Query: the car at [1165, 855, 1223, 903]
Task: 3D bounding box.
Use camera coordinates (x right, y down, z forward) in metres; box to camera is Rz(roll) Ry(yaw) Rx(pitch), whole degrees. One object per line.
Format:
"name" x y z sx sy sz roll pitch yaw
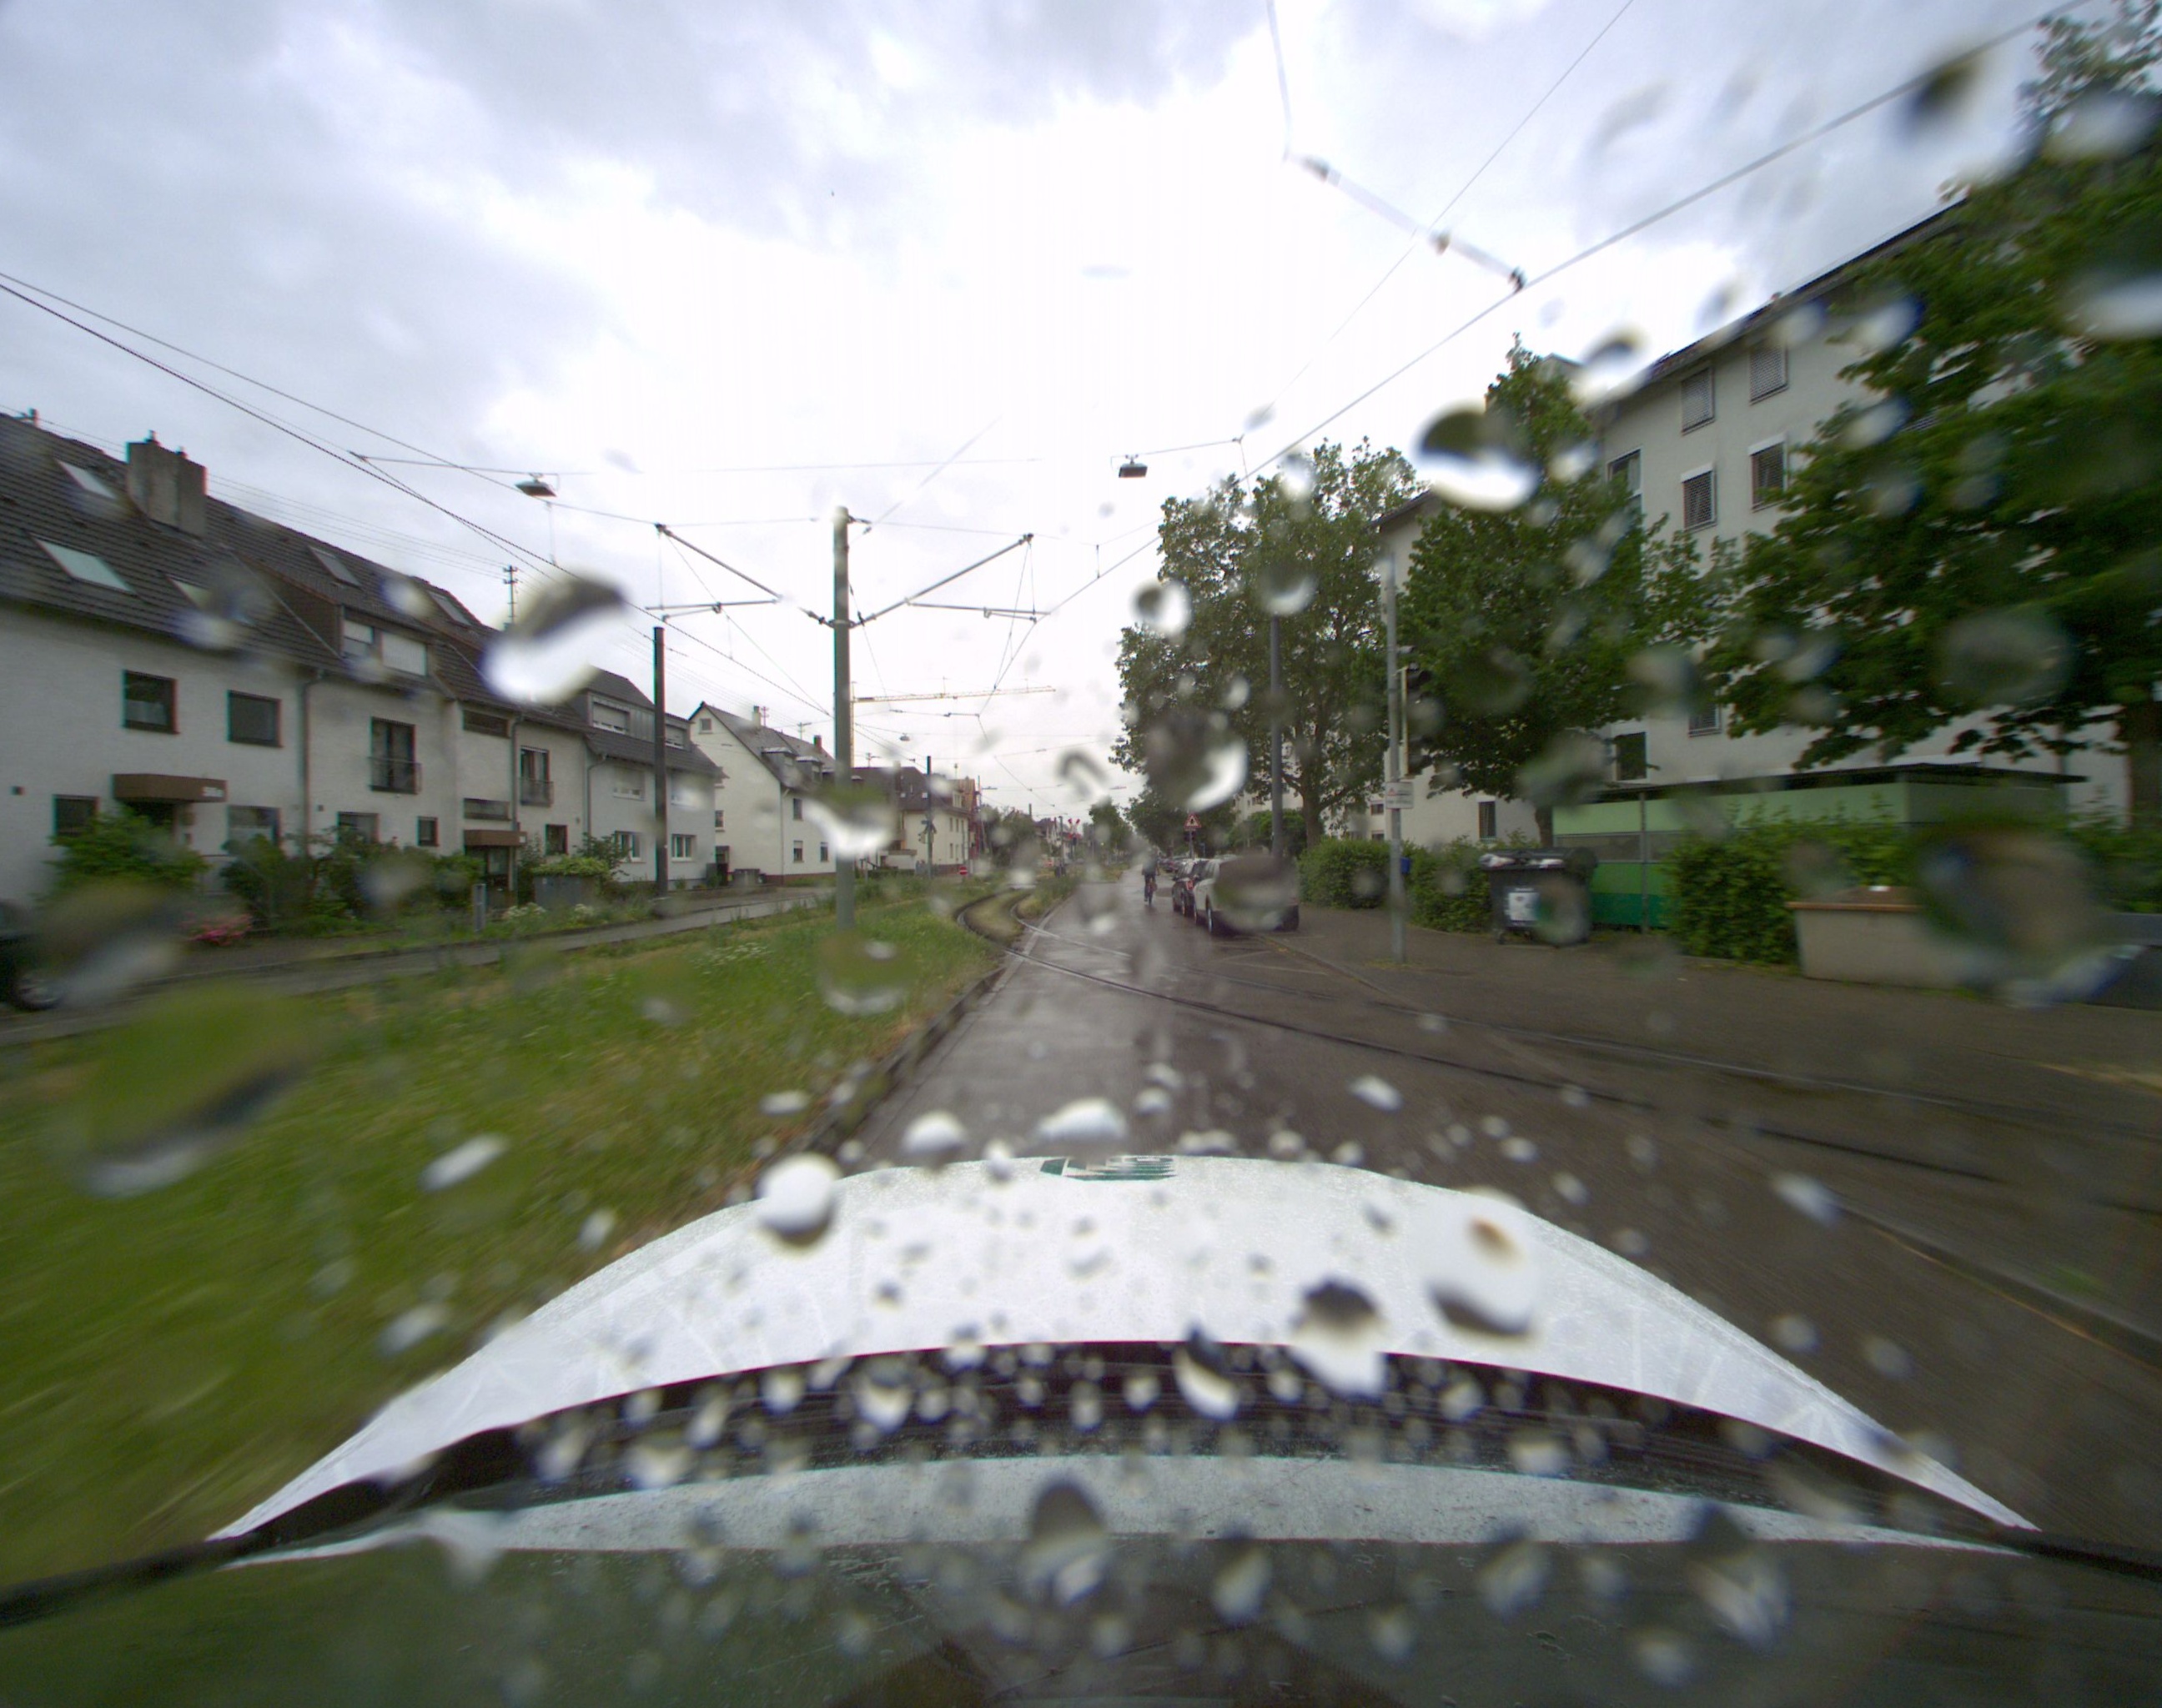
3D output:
"car" 3.961 0.836 29.031 1.552 1.519 4.001 -2 0 2

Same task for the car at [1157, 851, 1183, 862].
"car" 15.671 0.406 143.520 4.158 1.719 1.982 -4 1 -27

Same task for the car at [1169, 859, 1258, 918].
"car" 3.637 0.912 23.041 1.893 1.449 4.185 -2 0 1

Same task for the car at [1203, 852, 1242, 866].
"car" 19.125 0.646 110.474 4.804 1.745 1.993 -1 0 -11

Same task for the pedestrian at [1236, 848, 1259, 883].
"pedestrian" 9.025 0.610 44.052 1.091 1.813 1.439 -1 0 14

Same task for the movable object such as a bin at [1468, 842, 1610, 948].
"movable object such as a bin" 6.783 0.570 12.108 1.158 1.441 1.460 -1 -1 -37

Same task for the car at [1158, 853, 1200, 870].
"car" 10.245 0.790 85.009 4.370 1.651 1.837 -2 0 -37

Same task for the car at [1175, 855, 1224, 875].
"car" 10.207 0.911 69.932 4.017 1.508 1.687 -2 -2 -35

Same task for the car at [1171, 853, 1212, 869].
"car" 11.077 0.672 81.687 4.019 1.429 1.715 -2 0 -37

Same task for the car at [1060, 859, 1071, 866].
"car" -3.104 1.718 165.100 1.655 1.244 4.078 1 0 6

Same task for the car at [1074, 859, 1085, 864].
"car" -0.352 1.734 190.907 1.885 1.244 4.699 1 0 9

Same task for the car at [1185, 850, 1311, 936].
"car" 3.435 0.746 17.539 1.893 1.575 4.112 -2 0 1

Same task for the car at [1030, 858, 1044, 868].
"car" -7.303 1.531 135.638 1.701 1.542 4.430 1 0 6

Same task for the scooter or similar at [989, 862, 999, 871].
"scooter or similar" -11.441 1.672 107.063 0.435 1.129 1.291 -2 -1 34

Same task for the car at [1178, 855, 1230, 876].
"car" 10.081 0.928 66.634 4.014 1.508 1.766 -2 -2 -32

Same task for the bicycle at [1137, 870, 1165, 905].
"bicycle" 2.385 1.121 28.075 0.806 1.097 2.518 -2 0 2

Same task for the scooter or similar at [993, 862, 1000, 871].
"scooter or similar" -11.406 1.642 110.173 0.390 1.180 1.289 -1 -1 20

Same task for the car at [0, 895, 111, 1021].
"car" -13.570 1.274 8.620 1.766 1.426 3.940 -2 0 2

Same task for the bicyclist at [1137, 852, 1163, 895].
"bicyclist" 2.385 0.658 28.150 0.806 1.433 1.060 -2 0 2
